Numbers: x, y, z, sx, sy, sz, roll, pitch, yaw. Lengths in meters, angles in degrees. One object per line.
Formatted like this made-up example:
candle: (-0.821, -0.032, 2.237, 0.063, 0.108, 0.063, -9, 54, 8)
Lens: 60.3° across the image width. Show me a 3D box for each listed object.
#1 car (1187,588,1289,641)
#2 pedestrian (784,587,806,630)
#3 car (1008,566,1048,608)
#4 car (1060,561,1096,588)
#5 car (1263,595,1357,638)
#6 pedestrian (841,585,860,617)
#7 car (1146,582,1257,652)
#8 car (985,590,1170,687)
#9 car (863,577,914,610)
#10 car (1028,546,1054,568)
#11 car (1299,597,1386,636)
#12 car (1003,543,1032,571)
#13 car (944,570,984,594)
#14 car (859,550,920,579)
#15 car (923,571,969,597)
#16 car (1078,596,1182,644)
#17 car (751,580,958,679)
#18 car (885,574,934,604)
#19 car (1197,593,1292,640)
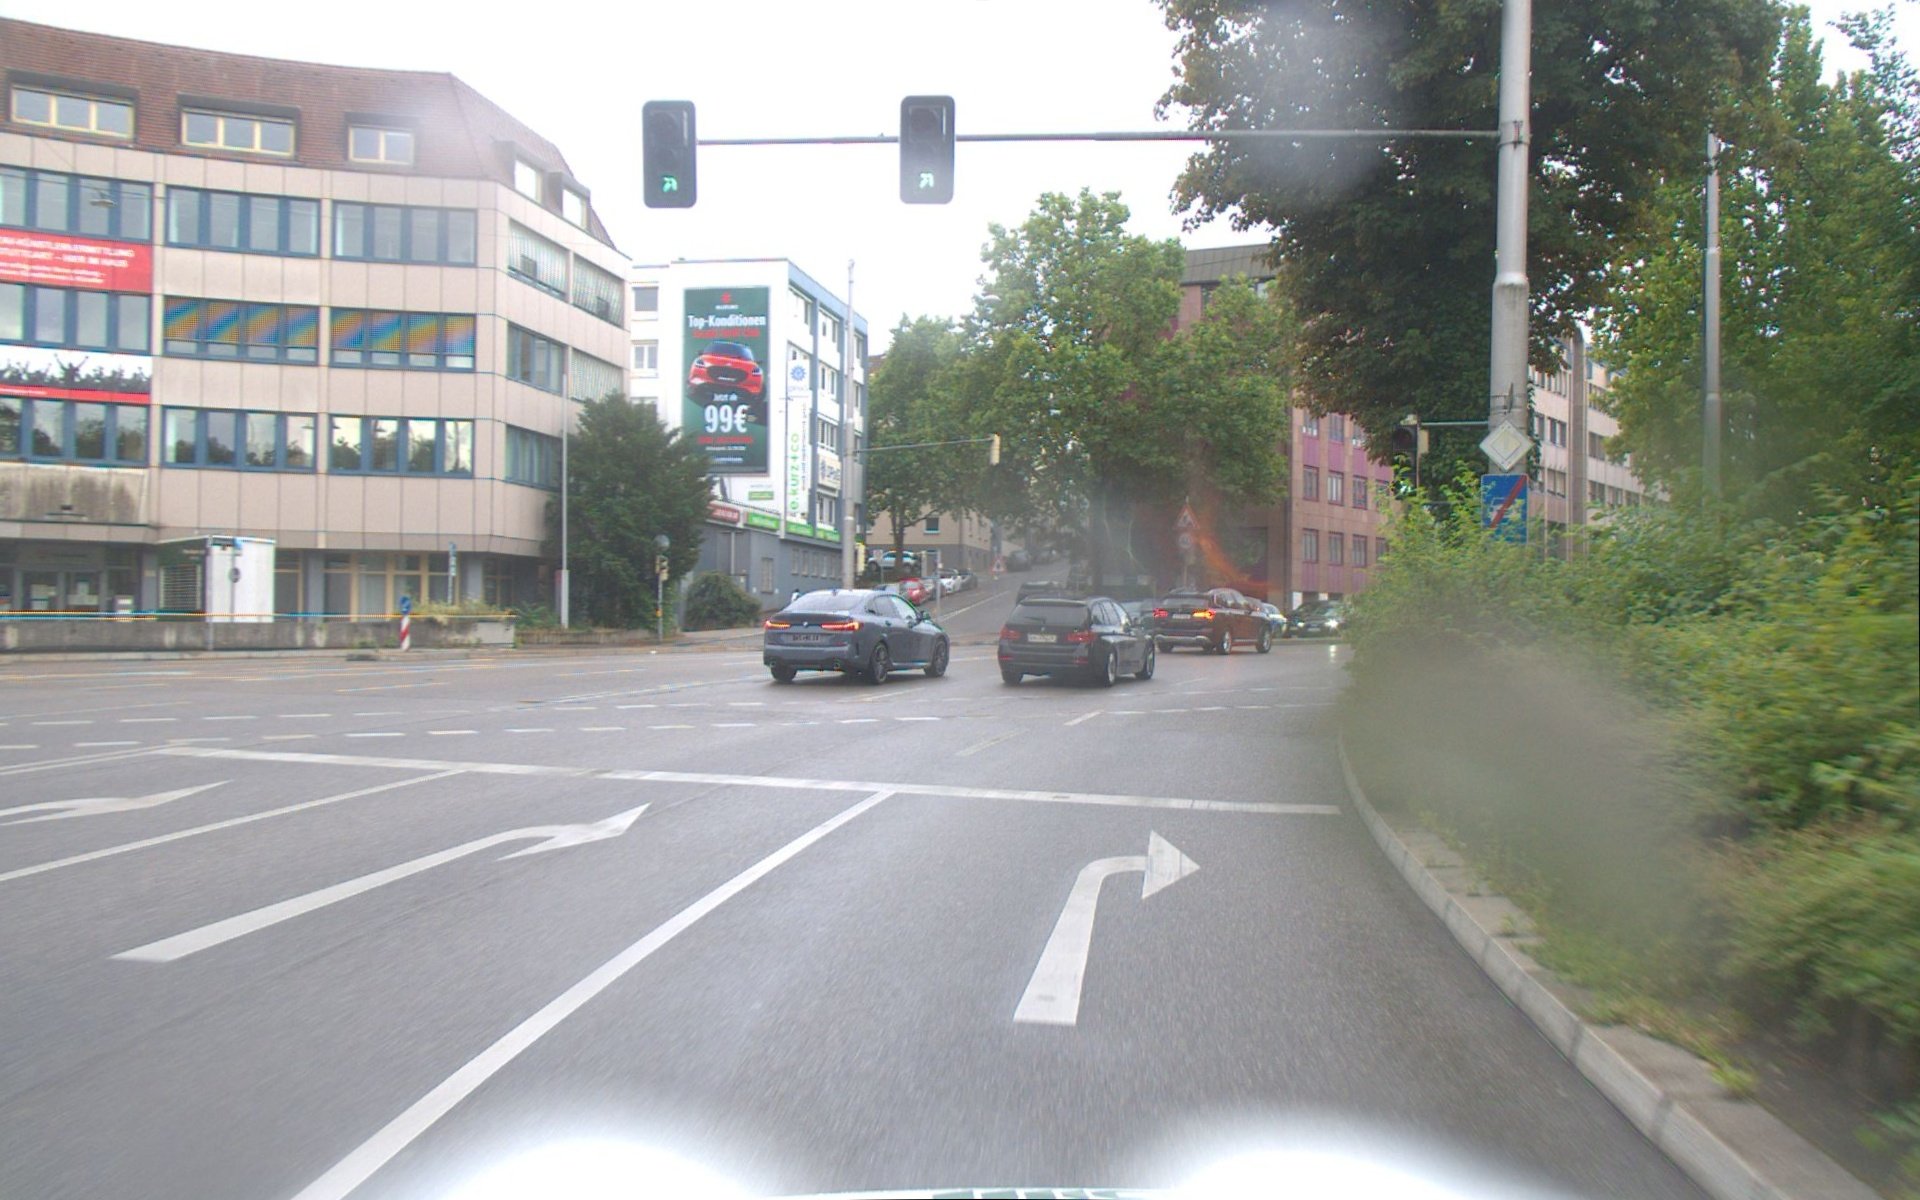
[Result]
car: (9.365, 0.481, 55.472, 1.819, 1.651, 4.582, -2, -1, 31)
pedestrian: (-7.954, 0.418, 79.781, 0.821, 2.049, 0.982, 0, -1, 10)
car: (3.589, -0.723, 86.762, 1.890, 1.900, 4.004, 1, 4, 5)
car: (7.889, -1.699, 110.155, 1.889, 1.703, 4.004, 0, 2, 11)
car: (14.360, 0.675, 67.636, 1.959, 1.707, 4.920, -2, -1, 35)
pedestrian: (-6.083, 0.064, 91.754, 0.821, 1.748, 0.982, 0, -1, 10)
car: (6.313, 0.464, 42.936, 1.861, 1.723, 3.998, -1, -1, 23)
car: (2.053, 0.588, 27.442, 1.754, 1.451, 4.613, 1, 0, 21)
car: (-3.830, -0.387, 89.783, 1.793, 1.488, 4.183, -1, 4, 11)
car: (7.241, -3.847, 147.785, 1.951, 1.874, 4.005, 0, 3, 9)
car: (14.415, 0.634, 62.199, 1.736, 1.442, 4.067, -1, -1, 36)
car: (4.687, -3.476, 134.225, 1.951, 2.049, 4.003, 0, -1, 9)
car: (0.287, -1.194, 109.090, 1.793, 1.456, 4.074, -1, 1, 13)
car: (-5.292, -2.672, 124.774, 4.323, 2.041, 2.001, 0, -1, 6)
car: (-0.859, -1.013, 104.349, 1.794, 1.455, 4.074, -1, 2, 15)
car: (5.762, 0.683, 55.690, 1.785, 1.539, 4.220, -1, -1, 33)
car: (-1.576, 0.476, 26.479, 1.753, 1.451, 4.385, -1, -1, 19)
car: (-2.892, -0.635, 95.374, 1.793, 1.455, 4.075, -1, 4, 13)
car: (10.851, 0.630, 62.820, 1.736, 1.712, 4.573, -1, -1, 36)
